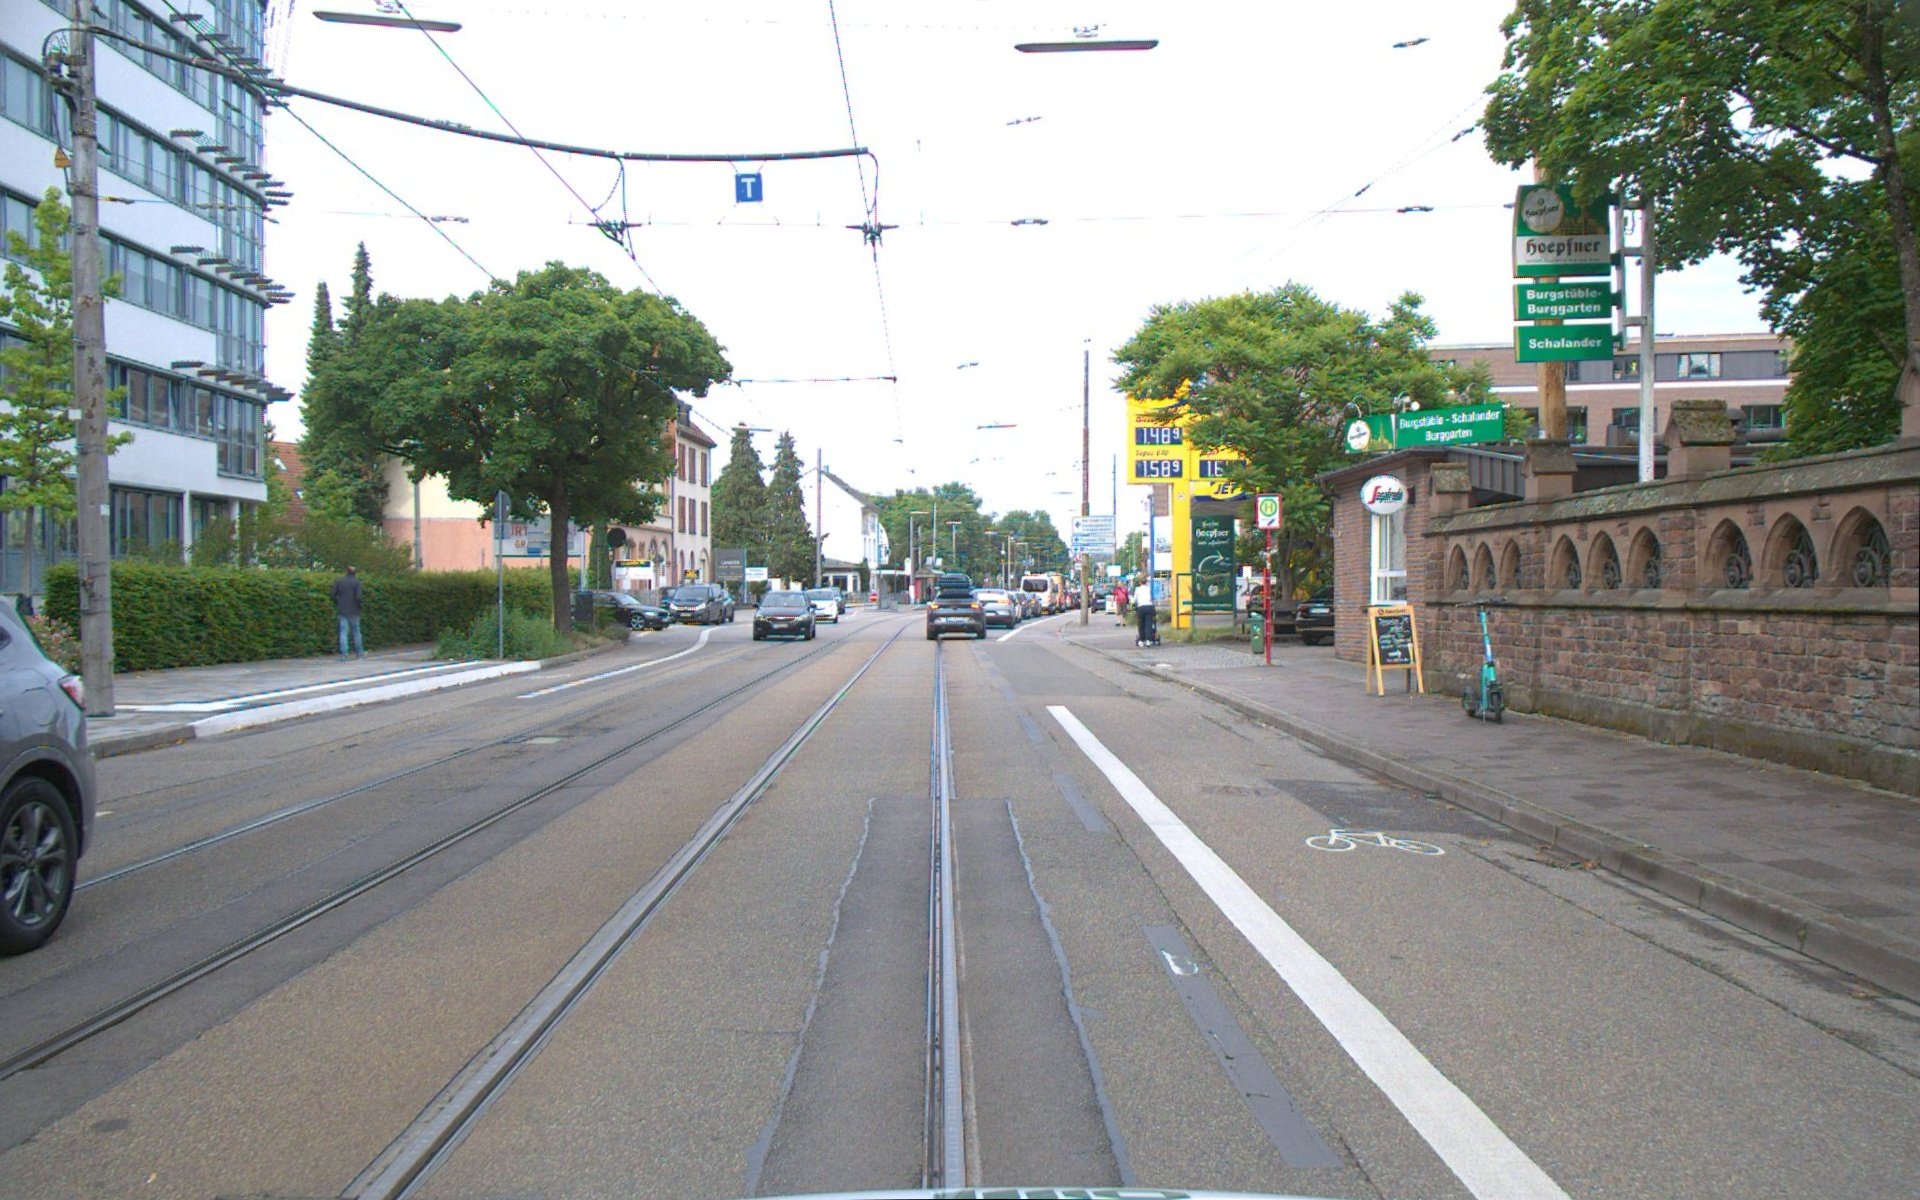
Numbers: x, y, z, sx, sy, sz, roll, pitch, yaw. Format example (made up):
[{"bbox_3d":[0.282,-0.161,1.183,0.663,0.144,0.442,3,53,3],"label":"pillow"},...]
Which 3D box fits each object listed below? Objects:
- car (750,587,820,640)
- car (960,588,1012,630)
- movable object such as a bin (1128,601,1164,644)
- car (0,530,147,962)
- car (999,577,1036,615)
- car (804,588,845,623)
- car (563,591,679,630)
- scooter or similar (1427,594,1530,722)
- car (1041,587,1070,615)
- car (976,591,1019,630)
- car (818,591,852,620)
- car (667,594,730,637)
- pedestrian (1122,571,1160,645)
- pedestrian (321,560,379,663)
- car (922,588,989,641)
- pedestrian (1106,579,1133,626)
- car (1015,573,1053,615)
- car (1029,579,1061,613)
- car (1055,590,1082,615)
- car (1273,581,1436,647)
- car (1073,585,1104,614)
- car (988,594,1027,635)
[{"bbox_3d":[-5.329,0.384,50.775,1.712,1.512,4.062,-1,1,-1],"label":"car"},{"bbox_3d":[1.008,0.343,65.718,1.941,1.577,4.183,1,0,-1],"label":"car"},{"bbox_3d":[4.790,0.564,42.545,0.751,1.057,1.025,-2,0,14],"label":"movable object such as a bin"},{"bbox_3d":[-4.653,0.615,5.399,1.804,1.683,4.388,-2,1,-1],"label":"car"},{"bbox_3d":[3.283,-0.201,93.724,1.952,2.049,4.001,1,0,3],"label":"car"},{"bbox_3d":[-6.209,0.240,76.155,1.669,1.556,3.740,0,0,-2],"label":"car"},{"bbox_3d":[-12.554,0.372,61.324,3.838,1.412,1.802,0,0,20],"label":"car"},{"bbox_3d":[5.439,0.582,17.414,0.565,1.261,1.410,-3,0,0],"label":"scooter or similar"},{"bbox_3d":[7.326,0.098,127.380,1.953,2.049,3.999,1,0,-1],"label":"car"},{"bbox_3d":[1.784,0.516,79.034,1.928,1.787,3.838,1,0,1],"label":"car"},{"bbox_3d":[-7.838,0.328,103.951,1.790,1.768,4.335,0,0,0],"label":"car"},{"bbox_3d":[-12.292,0.721,77.976,1.950,1.920,4.999,1,0,2],"label":"car"},{"bbox_3d":[4.571,0.199,41.683,0.751,1.828,1.163,-2,0,13],"label":"pedestrian"},{"bbox_3d":[-12.424,0.227,33.703,0.695,2.049,0.991,1,-1,6],"label":"pedestrian"},{"bbox_3d":[-0.149,0.439,51.388,1.949,1.523,4.325,1,0,0],"label":"car"},{"bbox_3d":[6.280,0.100,65.136,0.951,1.769,0.861,-2,-1,2],"label":"pedestrian"},{"bbox_3d":[4.512,-0.352,101.551,2.170,2.465,4.952,1,0,2],"label":"car"},{"bbox_3d":[5.689,-0.276,110.776,2.095,2.183,4.745,1,0,3],"label":"car"},{"bbox_3d":[9.098,0.209,138.861,1.953,2.049,3.999,1,0,-1],"label":"car"},{"bbox_3d":[9.657,0.300,40.280,1.901,1.432,4.556,-1,1,43],"label":"car"},{"bbox_3d":[8.502,-0.035,109.508,1.835,1.855,4.097,1,0,2],"label":"car"},{"bbox_3d":[2.502,0.750,87.386,1.952,2.049,4.001,1,0,2],"label":"car"}]
